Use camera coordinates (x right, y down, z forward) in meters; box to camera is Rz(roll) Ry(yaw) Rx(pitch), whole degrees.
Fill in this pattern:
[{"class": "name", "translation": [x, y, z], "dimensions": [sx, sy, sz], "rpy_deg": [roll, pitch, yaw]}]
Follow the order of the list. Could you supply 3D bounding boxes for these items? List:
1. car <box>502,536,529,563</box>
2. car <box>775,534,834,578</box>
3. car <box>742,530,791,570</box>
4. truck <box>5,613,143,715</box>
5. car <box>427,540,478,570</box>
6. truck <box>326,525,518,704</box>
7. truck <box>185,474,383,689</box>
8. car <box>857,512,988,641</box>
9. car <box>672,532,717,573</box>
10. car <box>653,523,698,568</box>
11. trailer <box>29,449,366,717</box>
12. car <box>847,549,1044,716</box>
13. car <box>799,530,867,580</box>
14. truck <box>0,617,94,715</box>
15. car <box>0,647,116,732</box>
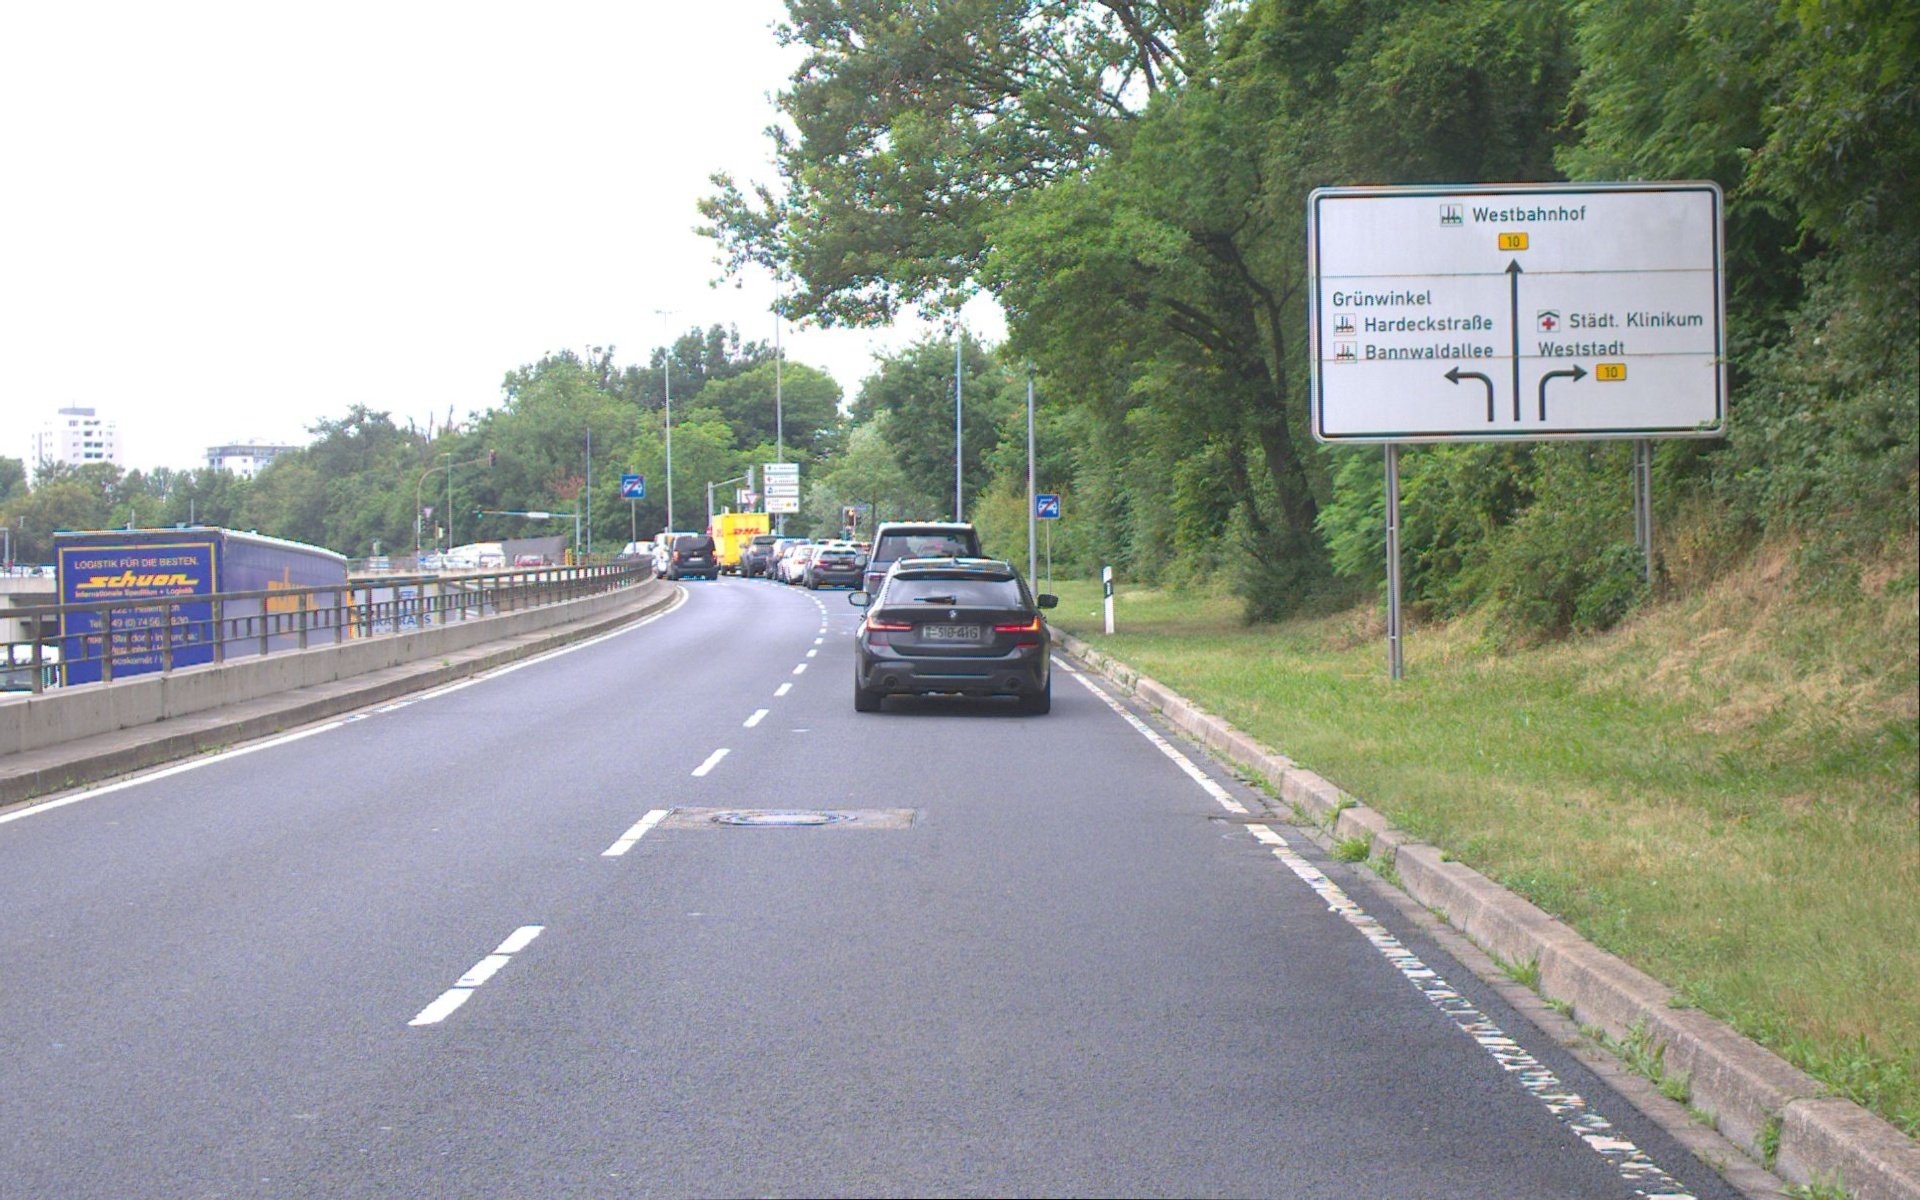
[{"class": "car", "translation": [-28.152, -3.205, 217.768], "dimensions": [1.623, 1.696, 4.297], "rpy_deg": [1, 0, -8]}, {"class": "car", "translation": [-5.808, -1.617, 127.810], "dimensions": [1.884, 1.587, 4.431], "rpy_deg": [1, 0, -6]}, {"class": "car", "translation": [-8.443, -2.185, 149.879], "dimensions": [1.884, 1.694, 4.431], "rpy_deg": [1, 0, -6]}, {"class": "truck", "translation": [-31.684, 2.207, 123.401], "dimensions": [2.524, 3.340, 11.051], "rpy_deg": [-1, 0, -3]}, {"class": "car", "translation": [-29.869, -2.646, 202.385], "dimensions": [1.624, 1.696, 4.294], "rpy_deg": [1, 0, 10]}, {"class": "truck", "translation": [-13.227, 0.275, 85.948], "dimensions": [2.850, 4.023, 15.579], "rpy_deg": [-1, 0, -2]}, {"class": "truck", "translation": [-13.316, -0.369, 68.131], "dimensions": [2.850, 4.023, 6.097], "rpy_deg": [-1, 0, -2]}, {"class": "car", "translation": [-0.571, -0.363, 52.986], "dimensions": [1.899, 1.878, 4.415], "rpy_deg": [1, 0, 0]}, {"class": "car", "translation": [-11.193, -1.983, 144.837], "dimensions": [1.623, 1.696, 4.297], "rpy_deg": [1, 0, -8]}, {"class": "car", "translation": [-12.666, -2.408, 152.832], "dimensions": [1.884, 1.980, 4.431], "rpy_deg": [1, 0, -6]}, {"class": "trailer", "translation": [-12.987, -0.312, 60.331], "dimensions": [2.851, 4.023, 16.007], "rpy_deg": [-1, 0, -2]}, {"class": "car", "translation": [-0.091, 0.255, 32.808], "dimensions": [1.748, 1.421, 4.462], "rpy_deg": [0, 2, 1]}, {"class": "car", "translation": [-4.215, -1.471, 113.373], "dimensions": [1.884, 1.587, 4.431], "rpy_deg": [1, 0, -6]}, {"class": "truck", "translation": [-31.504, 2.244, 118.060], "dimensions": [2.524, 3.209, 4.319], "rpy_deg": [-1, 0, -3]}, {"class": "car", "translation": [-18.031, 1.750, 68.211], "dimensions": [1.623, 1.523, 3.897], "rpy_deg": [1, 0, 0]}]
